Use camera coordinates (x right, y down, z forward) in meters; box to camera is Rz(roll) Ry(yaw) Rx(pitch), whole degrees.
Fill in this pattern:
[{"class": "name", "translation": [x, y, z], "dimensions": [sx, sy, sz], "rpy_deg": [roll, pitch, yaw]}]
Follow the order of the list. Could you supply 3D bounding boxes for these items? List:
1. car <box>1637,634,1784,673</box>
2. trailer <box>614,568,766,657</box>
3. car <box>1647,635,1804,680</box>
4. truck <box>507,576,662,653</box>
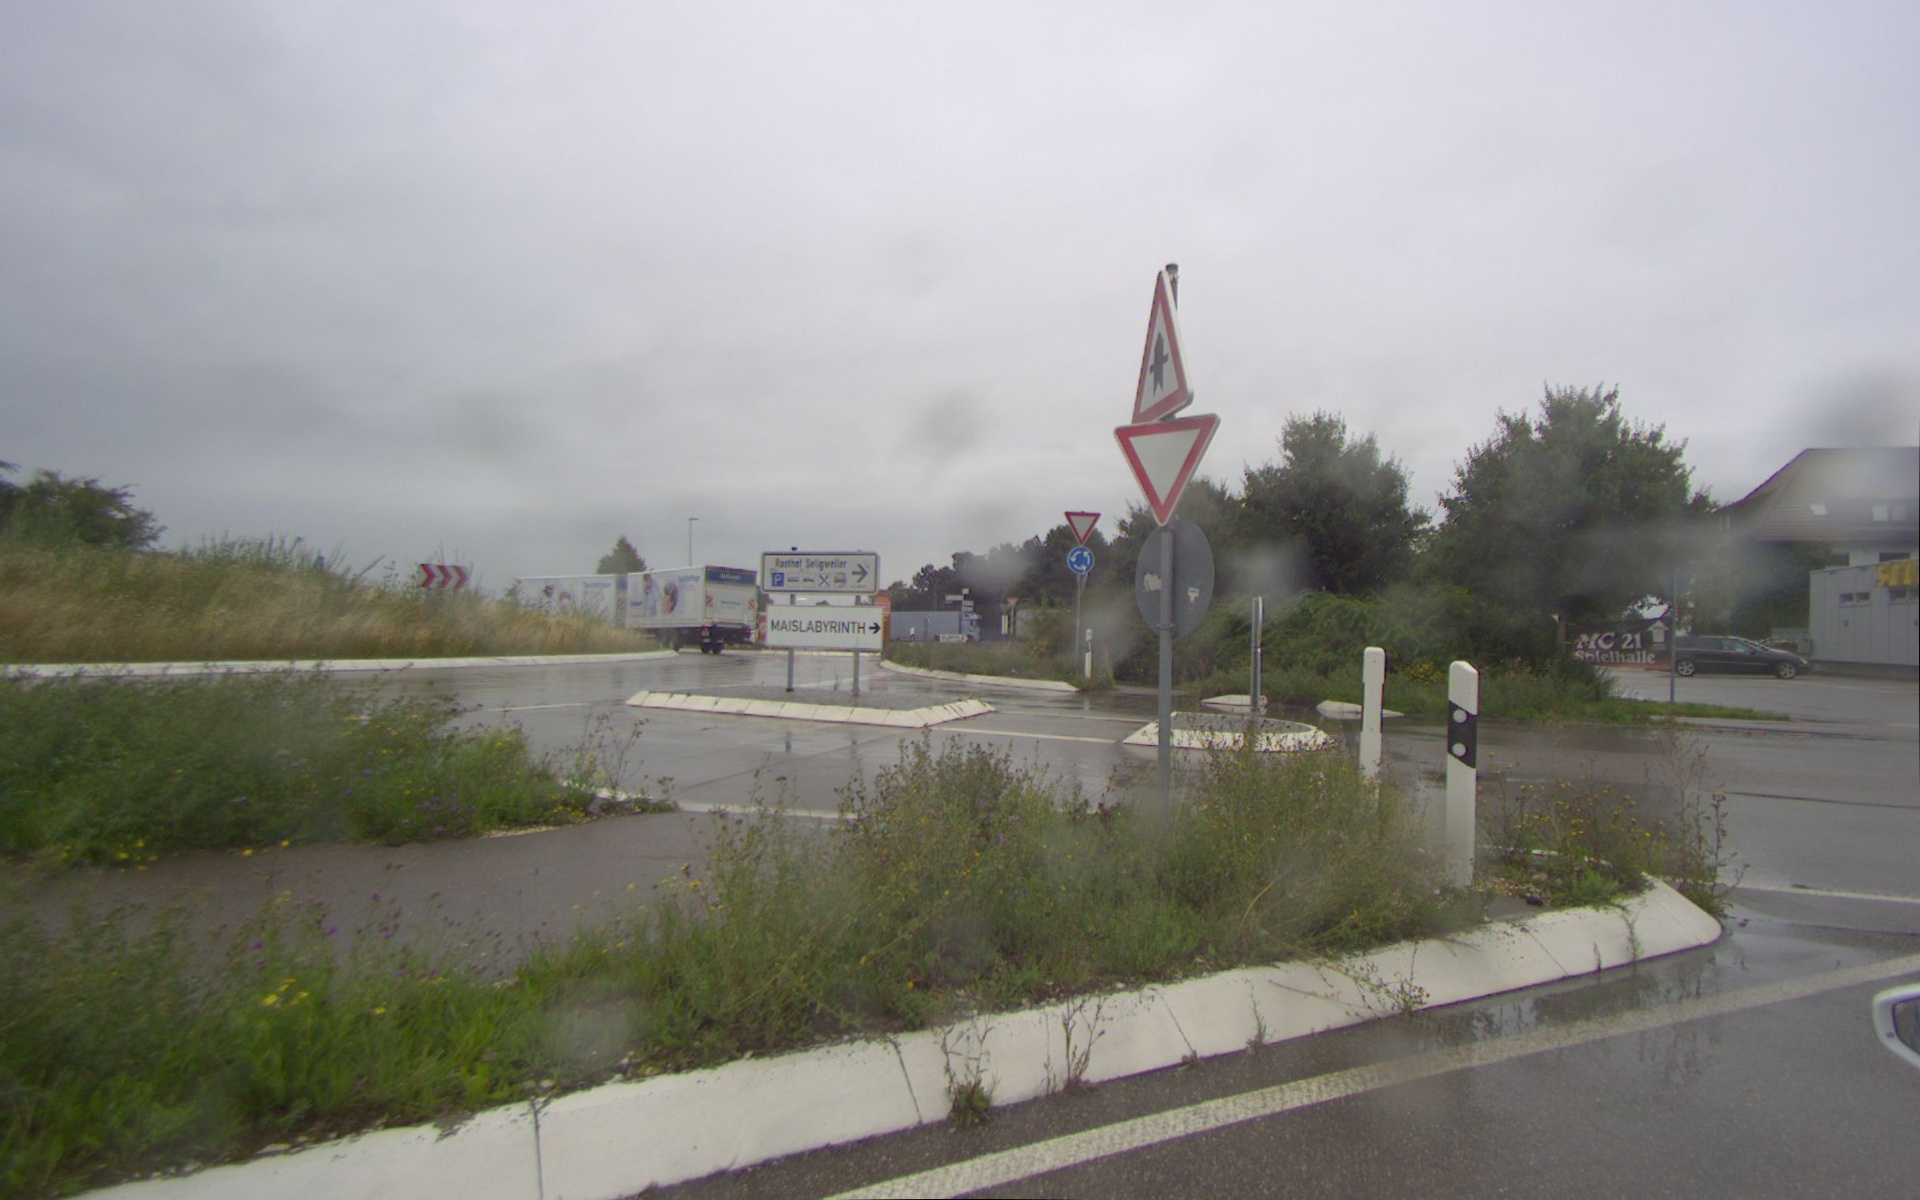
[{"class": "car", "translation": [29.618, 2.092, 39.786], "dimensions": [4.274, 1.443, 1.851], "rpy_deg": [0, -2, 19]}, {"class": "trailer", "translation": [-12.413, 0.642, 45.490], "dimensions": [3.077, 3.662, 8.752], "rpy_deg": [2, -2, -42]}, {"class": "car", "translation": [26.854, 1.985, 35.390], "dimensions": [4.291, 1.443, 1.700], "rpy_deg": [-1, -2, 37]}, {"class": "truck", "translation": [-19.138, 0.786, 51.063], "dimensions": [8.032, 3.645, 3.110], "rpy_deg": [-1, -2, 32]}]
